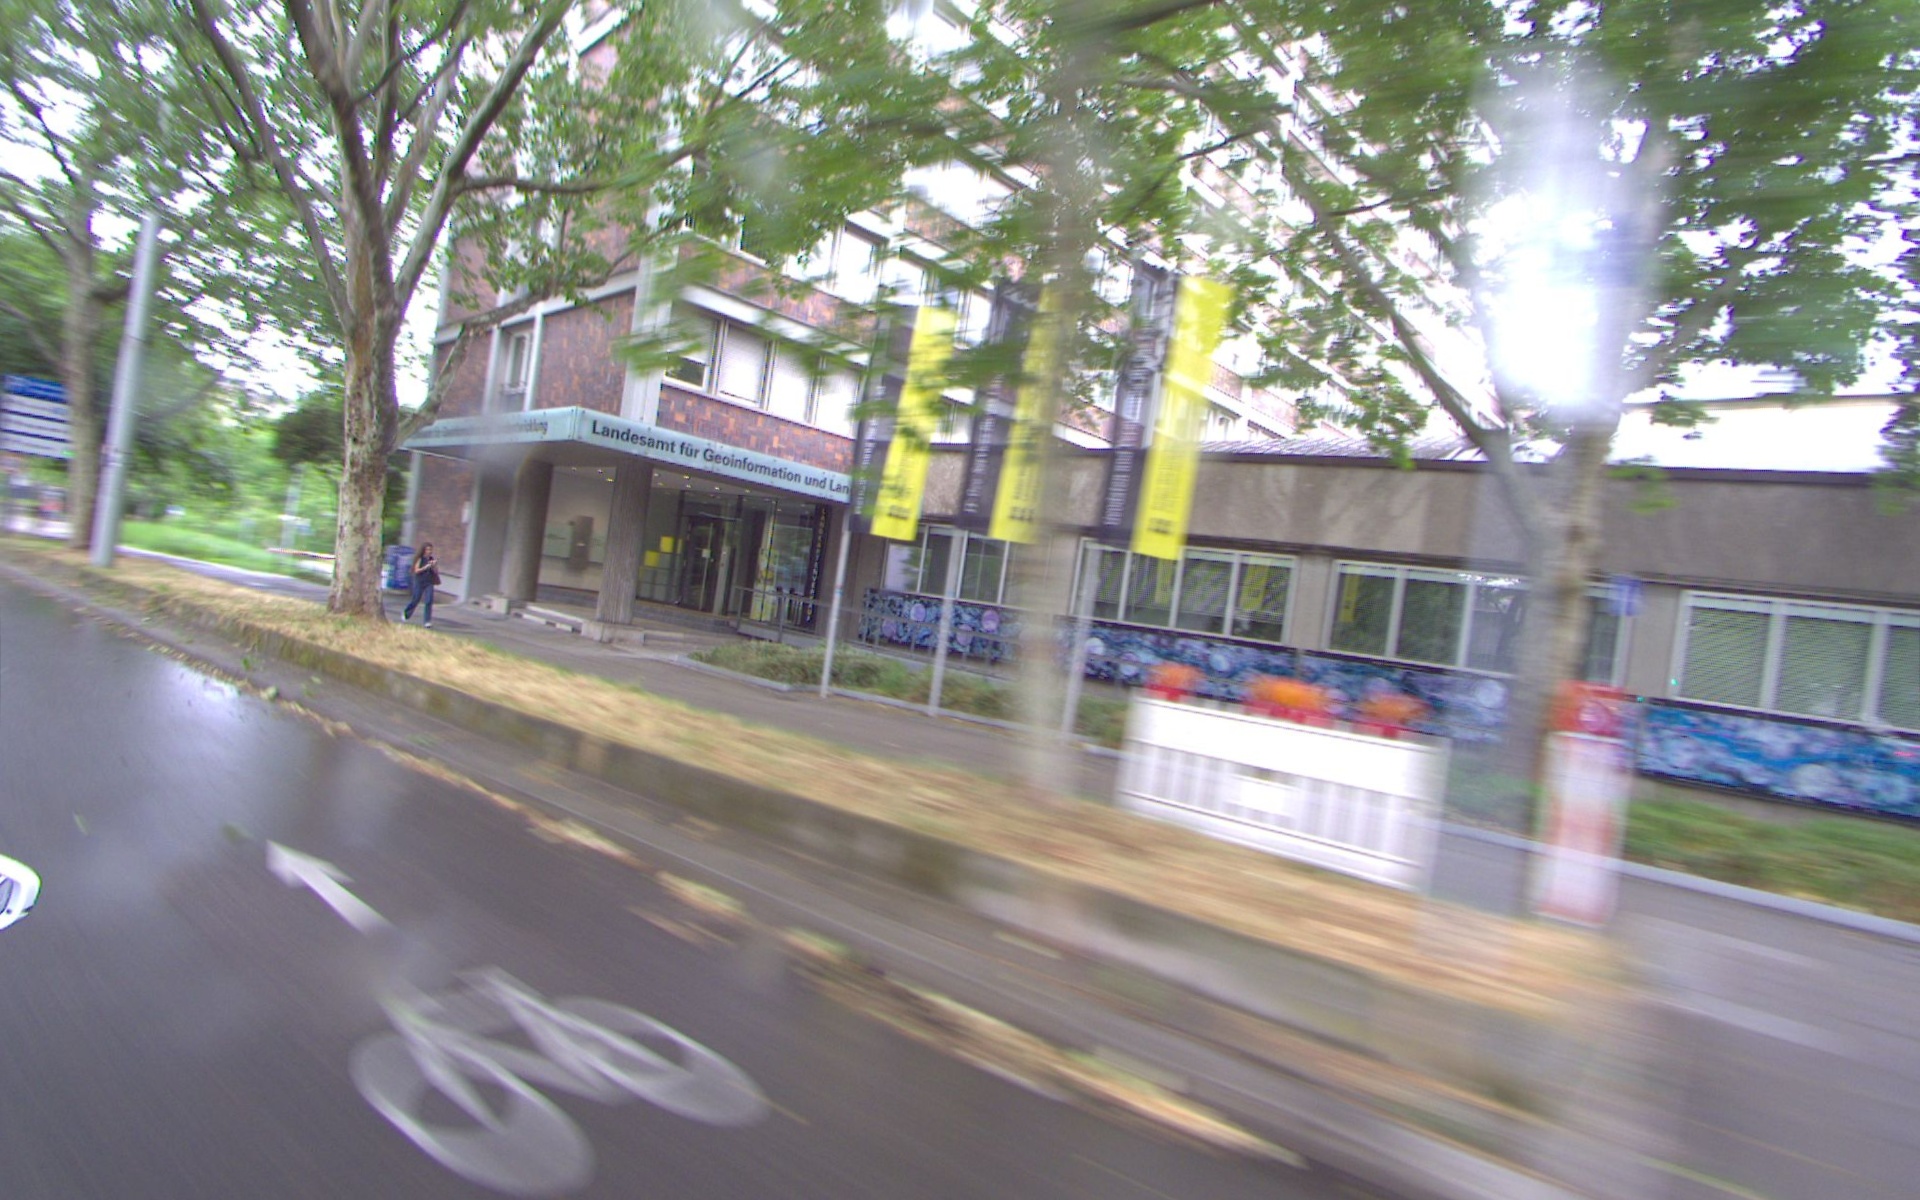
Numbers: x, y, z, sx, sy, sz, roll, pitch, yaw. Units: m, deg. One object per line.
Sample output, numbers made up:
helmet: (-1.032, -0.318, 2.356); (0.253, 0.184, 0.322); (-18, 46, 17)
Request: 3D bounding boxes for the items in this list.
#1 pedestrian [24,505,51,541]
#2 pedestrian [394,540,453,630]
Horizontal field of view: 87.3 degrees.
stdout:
pedestrian: (-46.219, -3.878, 50.401); (0.921, 1.658, 0.703); (7, -1, 39)
pedestrian: (-10.617, -0.301, 19.894); (0.921, 1.658, 0.520); (7, -1, 39)
